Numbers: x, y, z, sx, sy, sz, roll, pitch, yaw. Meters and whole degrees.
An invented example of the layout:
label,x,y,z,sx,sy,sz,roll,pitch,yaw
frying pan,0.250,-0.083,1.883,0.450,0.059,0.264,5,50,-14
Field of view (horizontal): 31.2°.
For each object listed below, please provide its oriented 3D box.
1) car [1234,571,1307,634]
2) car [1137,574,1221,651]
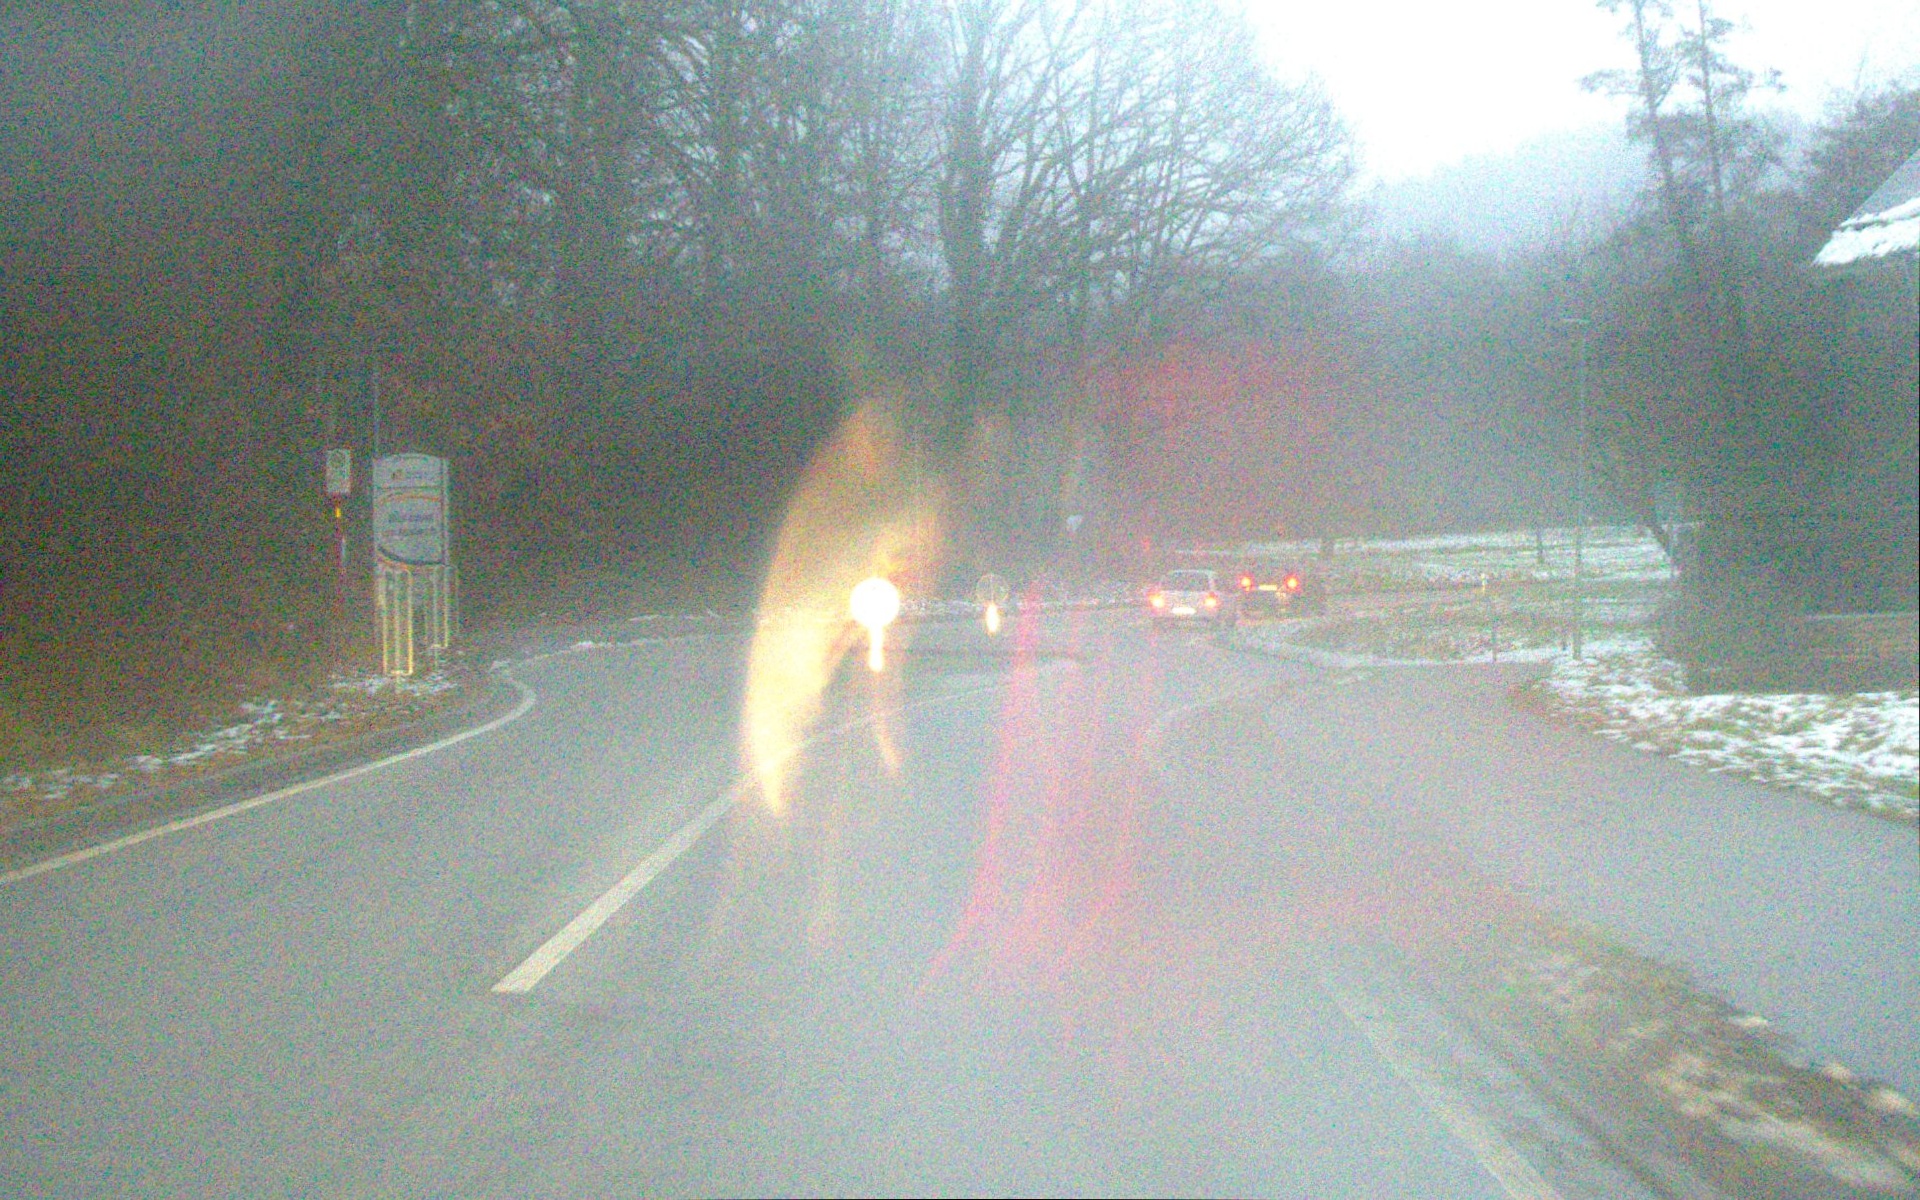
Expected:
label,x,y,z,sx,sy,sz,roll,pitch,yaw
car,8.510,0.045,94.393,1.933,1.670,3.999,0,1,5
car,5.276,0.283,82.487,1.933,1.775,3.999,0,1,5
